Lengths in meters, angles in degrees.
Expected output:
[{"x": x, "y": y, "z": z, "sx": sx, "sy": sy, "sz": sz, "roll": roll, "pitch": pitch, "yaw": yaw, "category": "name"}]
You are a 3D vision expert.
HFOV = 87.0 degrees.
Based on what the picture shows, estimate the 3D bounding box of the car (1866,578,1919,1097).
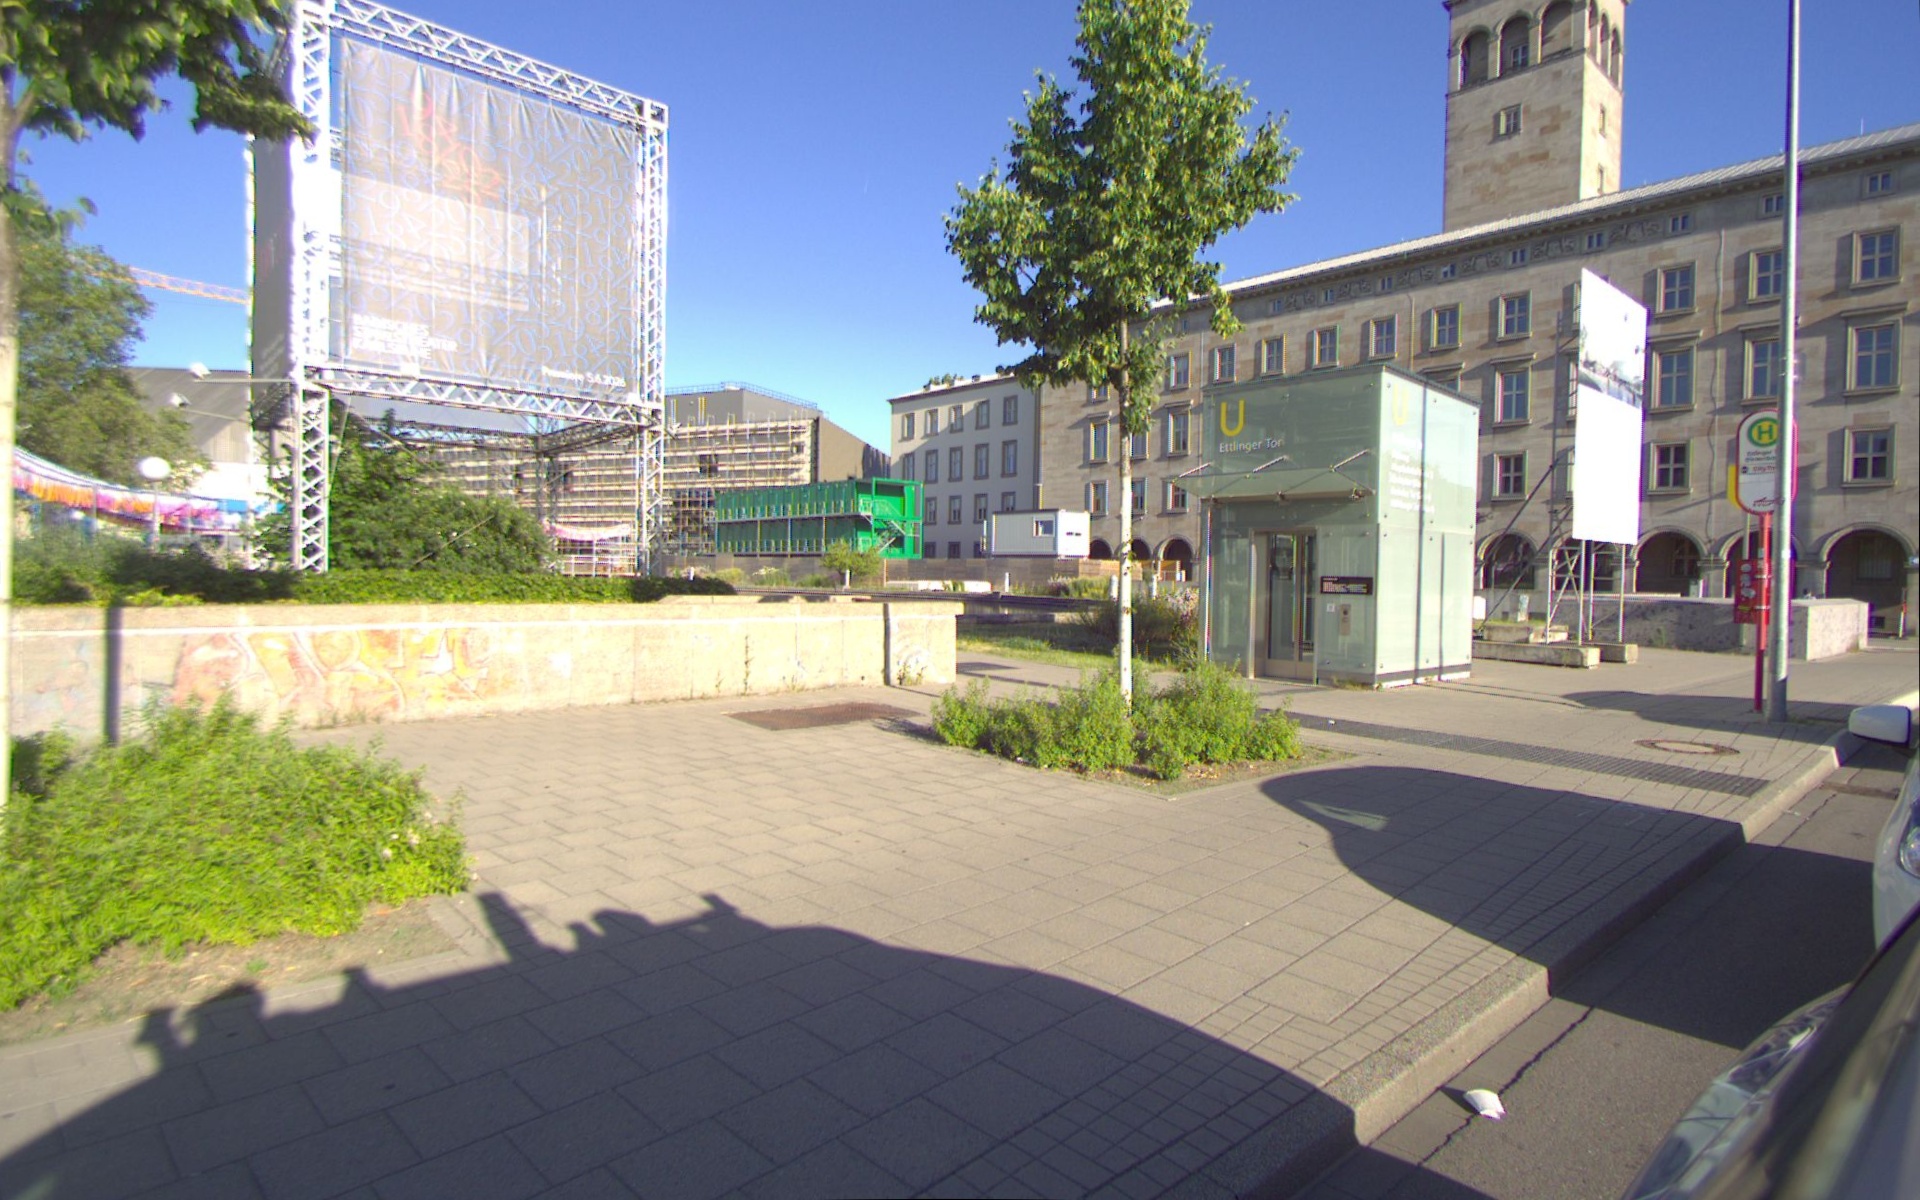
[{"x": 4.640, "y": 0.691, "z": 3.667, "sx": 3.930, "sy": 1.473, "sz": 1.518, "roll": 0, "pitch": 2, "yaw": -41, "category": "car"}]

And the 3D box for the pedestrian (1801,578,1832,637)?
[{"x": 25.422, "y": 0.211, "z": 30.031, "sx": 0.572, "sy": 1.732, "sz": 0.595, "roll": 0, "pitch": 1, "yaw": -41, "category": "pedestrian"}]
